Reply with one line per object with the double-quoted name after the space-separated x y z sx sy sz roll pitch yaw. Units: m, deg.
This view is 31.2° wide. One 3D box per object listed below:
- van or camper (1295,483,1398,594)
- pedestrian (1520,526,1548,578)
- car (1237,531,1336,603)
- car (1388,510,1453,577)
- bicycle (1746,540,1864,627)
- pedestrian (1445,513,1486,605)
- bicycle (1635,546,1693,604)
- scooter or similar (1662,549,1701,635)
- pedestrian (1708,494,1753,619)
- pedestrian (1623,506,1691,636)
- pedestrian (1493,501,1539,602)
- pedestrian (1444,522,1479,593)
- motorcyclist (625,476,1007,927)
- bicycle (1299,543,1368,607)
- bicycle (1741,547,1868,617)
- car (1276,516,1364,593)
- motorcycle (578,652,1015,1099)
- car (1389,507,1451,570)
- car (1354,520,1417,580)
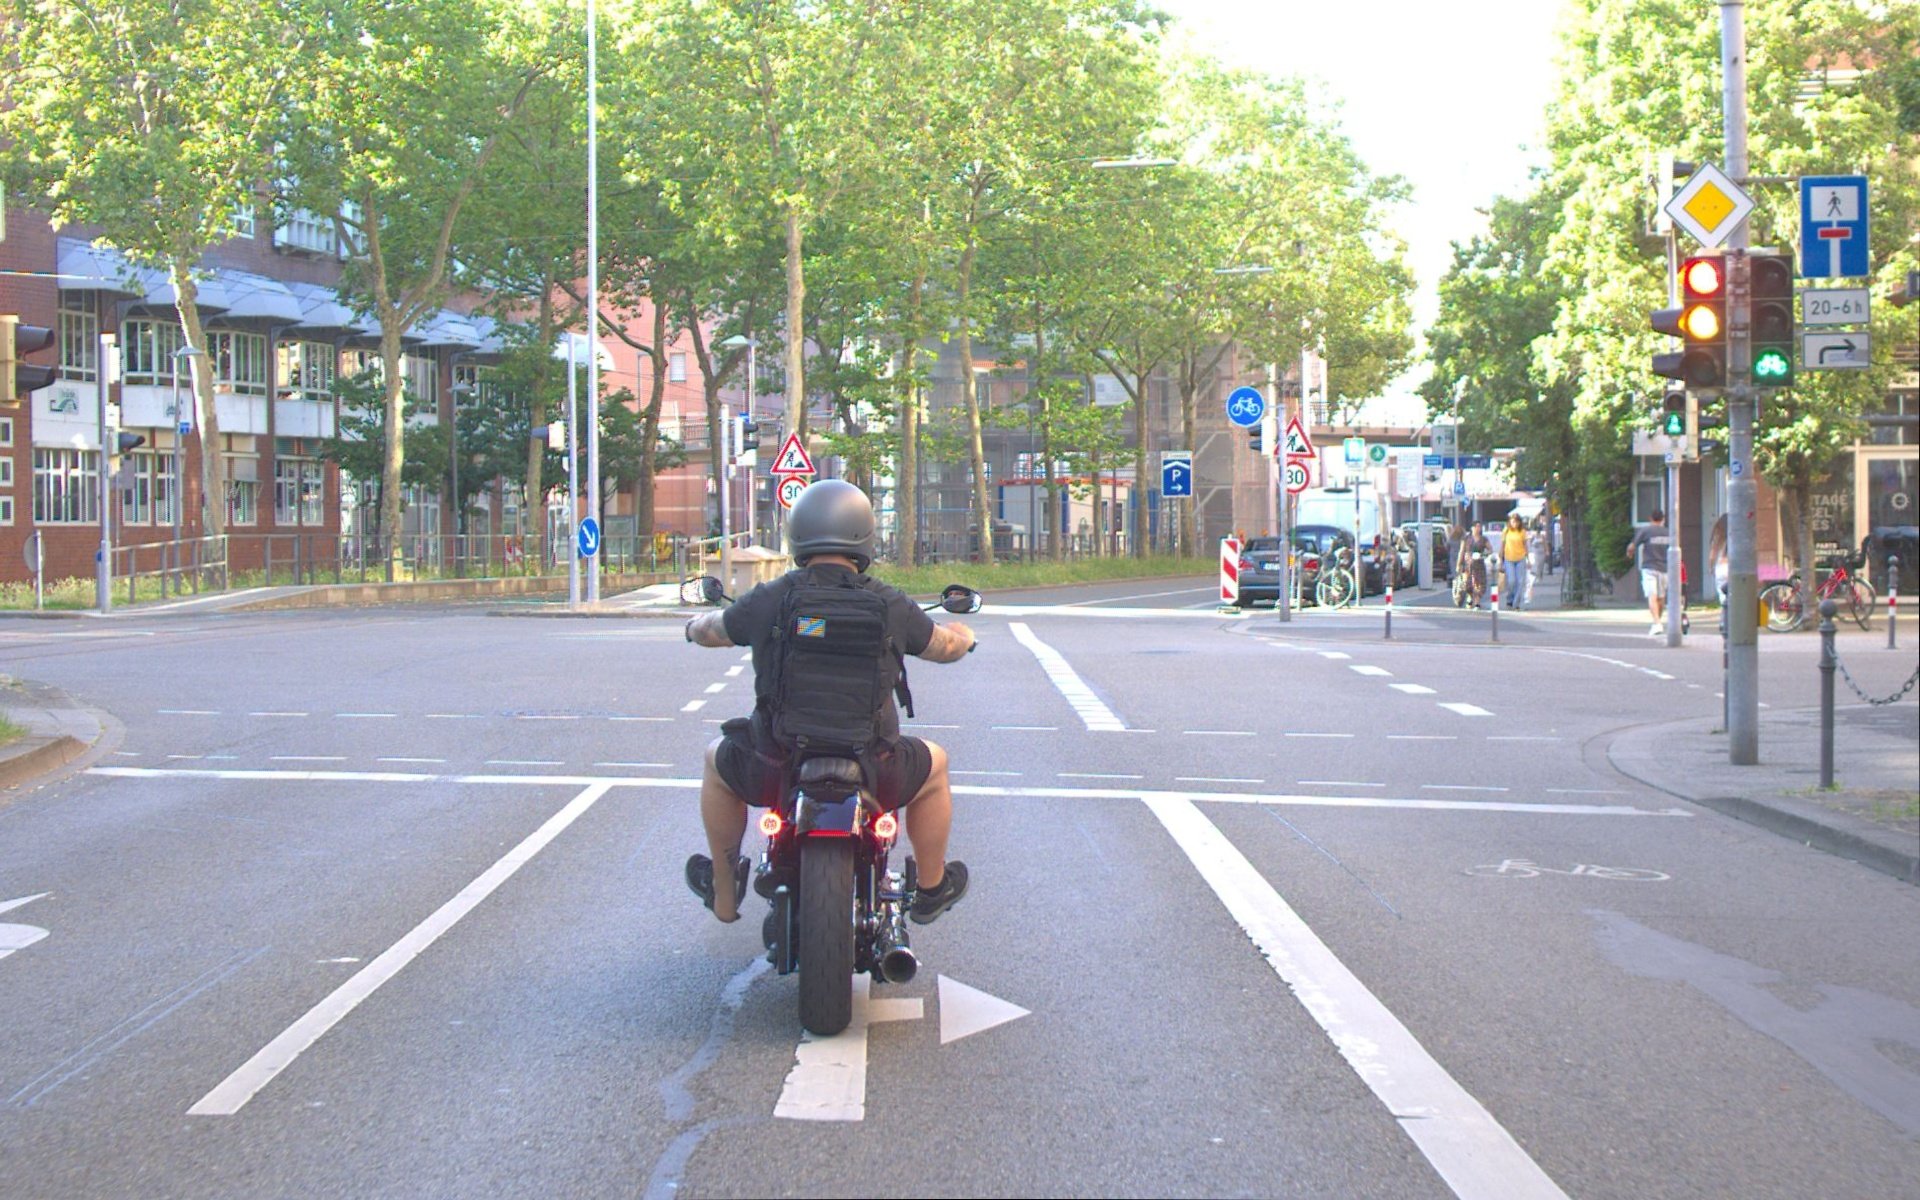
9.203 -1.466 81.426 2.049 2.532 5.771 0 1 10 "van or camper"
16.082 -1.340 96.355 0.765 1.440 0.780 1 1 9 "pedestrian"
6.222 -0.649 65.243 1.621 1.298 4.310 0 1 9 "car"
14.163 -1.759 105.571 1.836 2.007 4.386 0 1 10 "car"
12.056 -0.236 49.091 1.567 1.223 0.577 0 1 6 "bicycle"
8.704 -0.704 59.203 0.644 1.573 0.748 0 1 4 "pedestrian"
11.731 -0.424 57.359 0.737 0.936 1.752 0 1 5 "bicycle"
9.874 -0.119 47.052 0.394 1.154 1.249 0 1 6 "scooter or similar"
10.418 -0.592 46.483 0.459 1.667 0.680 0 1 1 "pedestrian"
9.511 -0.402 46.903 0.785 1.757 0.610 0 1 -2 "pedestrian"
9.554 -0.837 59.078 0.700 1.727 0.767 0 1 4 "pedestrian"
11.663 -1.000 79.945 0.762 1.639 0.547 0 1 3 "pedestrian"
-0.412 0.279 10.272 1.012 1.258 0.774 2 2 5 "motorcyclist"
6.314 -0.439 58.176 0.737 1.049 1.753 0 1 -9 "bicycle"
12.814 -0.280 52.188 1.749 1.049 0.738 0 1 28 "bicycle"
7.893 -1.015 75.165 1.621 1.614 4.483 0 1 10 "car"
-0.422 0.745 10.126 1.018 1.093 2.007 0 2 5 "motorcycle"
14.854 -1.990 110.917 1.836 2.007 4.386 0 1 10 "car"
11.707 -1.378 94.525 1.621 1.604 3.773 0 1 8 "car"
